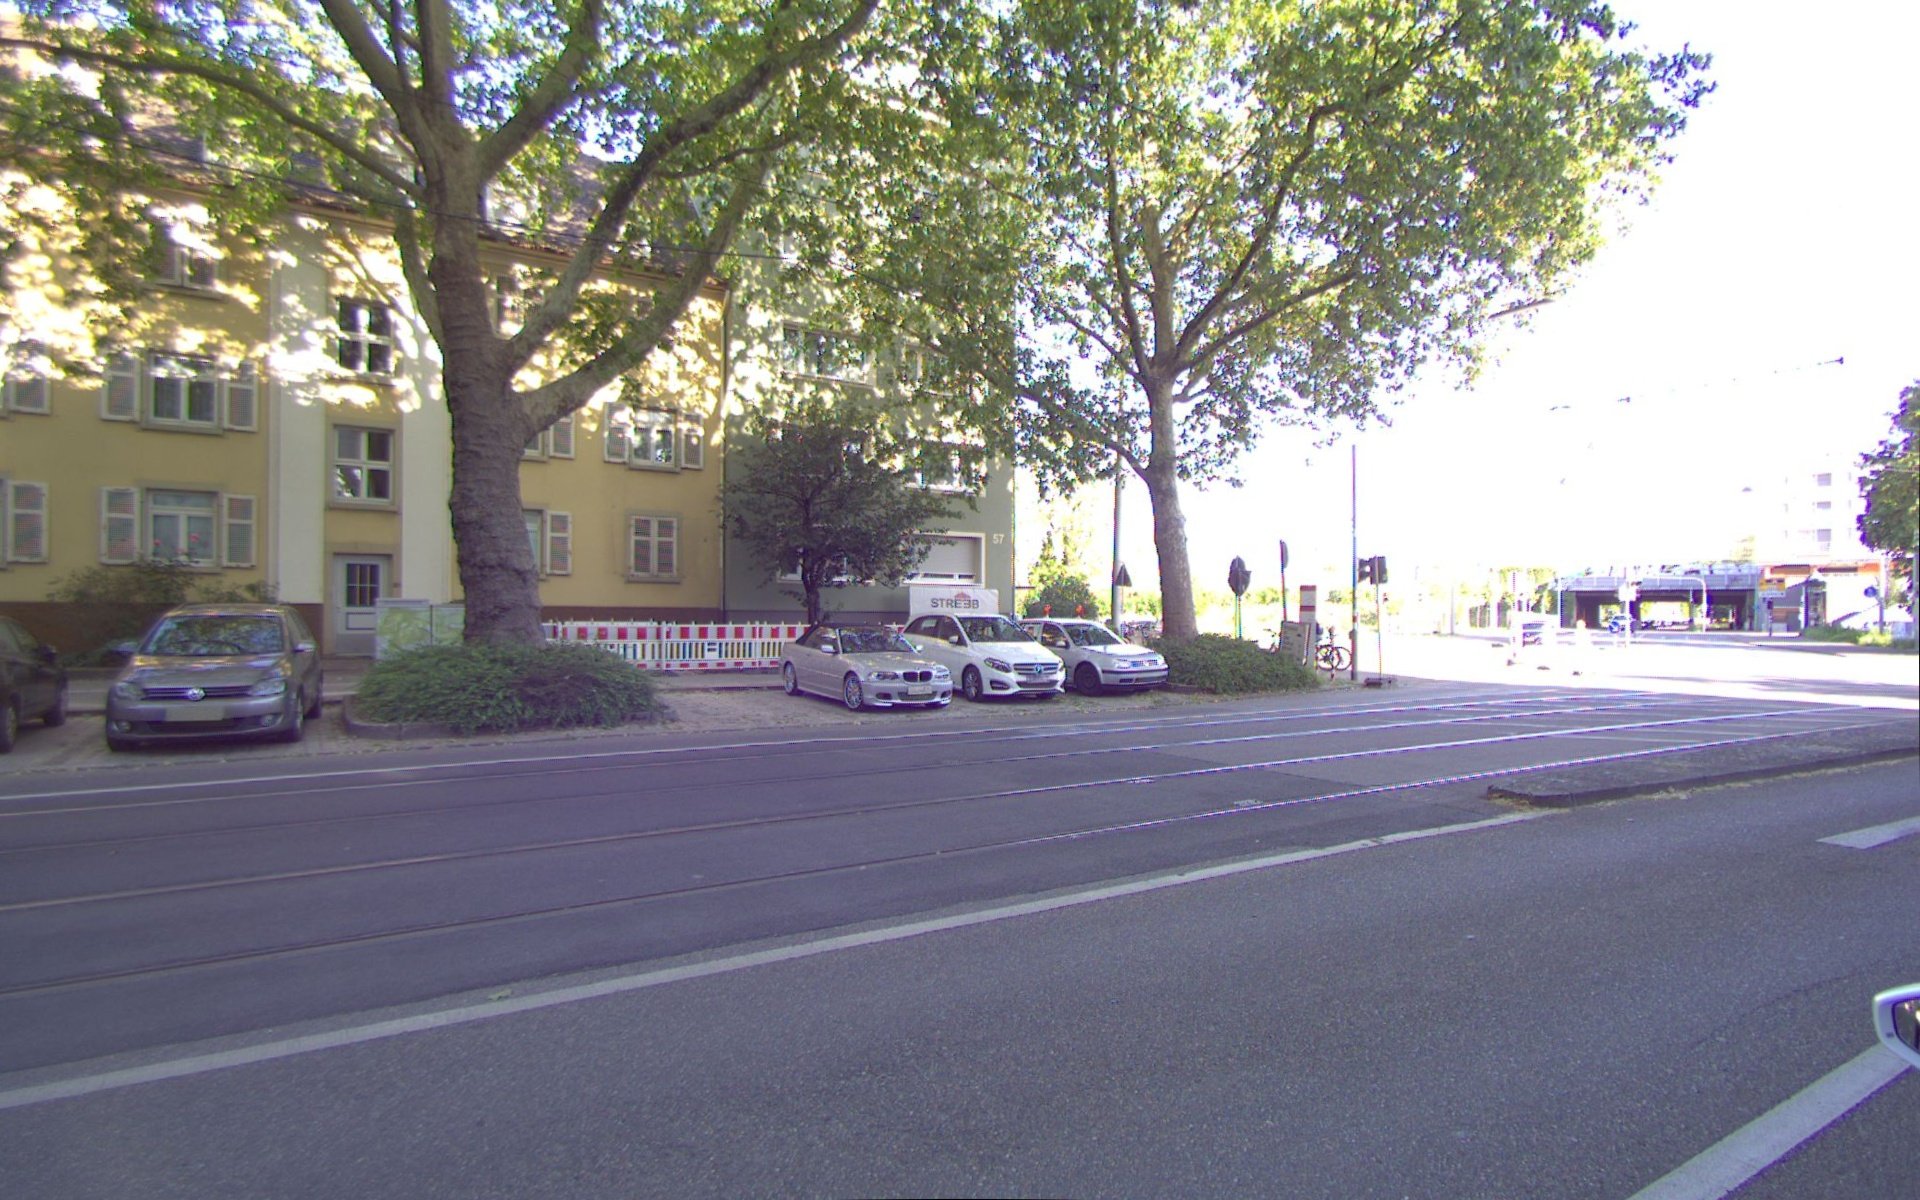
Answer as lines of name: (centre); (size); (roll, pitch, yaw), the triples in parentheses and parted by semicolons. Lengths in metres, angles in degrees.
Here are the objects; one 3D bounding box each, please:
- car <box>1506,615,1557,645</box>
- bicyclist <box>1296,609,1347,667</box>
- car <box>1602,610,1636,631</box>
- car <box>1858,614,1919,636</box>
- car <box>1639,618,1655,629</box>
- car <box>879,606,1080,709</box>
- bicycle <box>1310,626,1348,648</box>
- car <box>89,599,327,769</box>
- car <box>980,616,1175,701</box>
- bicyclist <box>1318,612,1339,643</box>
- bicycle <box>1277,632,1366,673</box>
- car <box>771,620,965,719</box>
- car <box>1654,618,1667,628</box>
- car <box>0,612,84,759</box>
car: (32.427, 1.681, 56.944); (1.803, 1.539, 3.876); (2, 1, 40)
bicyclist: (9.928, 1.035, 27.596); (1.099, 1.540, 0.918); (0, -1, 38)
car: (61.034, 1.889, 93.092); (2.179, 1.847, 4.141); (0, -1, 28)
car: (79.387, 2.086, 85.539); (4.120, 1.829, 1.731); (0, -1, 36)
car: (102.927, 3.478, 150.580); (1.967, 1.623, 4.234); (0, -1, 34)
car: (0.218, 0.995, 19.482); (1.777, 1.640, 4.587); (1, 1, -30)
bicycle: (19.789, 1.977, 53.902); (0.586, 1.108, 2.044); (1, -1, -32)
car: (-9.040, 0.861, 12.428); (1.793, 1.627, 4.169); (1, 1, -29)
car: (2.297, 1.111, 20.827); (1.656, 1.448, 4.490); (1, 0, -30)
bicyclist: (19.794, 1.471, 53.894); (0.642, 1.616, 0.856); (1, -1, -32)
bicycle: (9.923, 1.425, 27.592); (2.163, 1.047, 0.831); (0, -1, 38)
car: (-1.732, 1.096, 17.438); (1.708, 1.386, 4.219); (1, 0, -31)
car: (138.653, 4.513, 198.918); (1.966, 1.973, 4.488); (0, -1, 32)
car: (-11.397, 0.882, 11.300); (1.723, 1.448, 3.545); (1, 0, -31)
